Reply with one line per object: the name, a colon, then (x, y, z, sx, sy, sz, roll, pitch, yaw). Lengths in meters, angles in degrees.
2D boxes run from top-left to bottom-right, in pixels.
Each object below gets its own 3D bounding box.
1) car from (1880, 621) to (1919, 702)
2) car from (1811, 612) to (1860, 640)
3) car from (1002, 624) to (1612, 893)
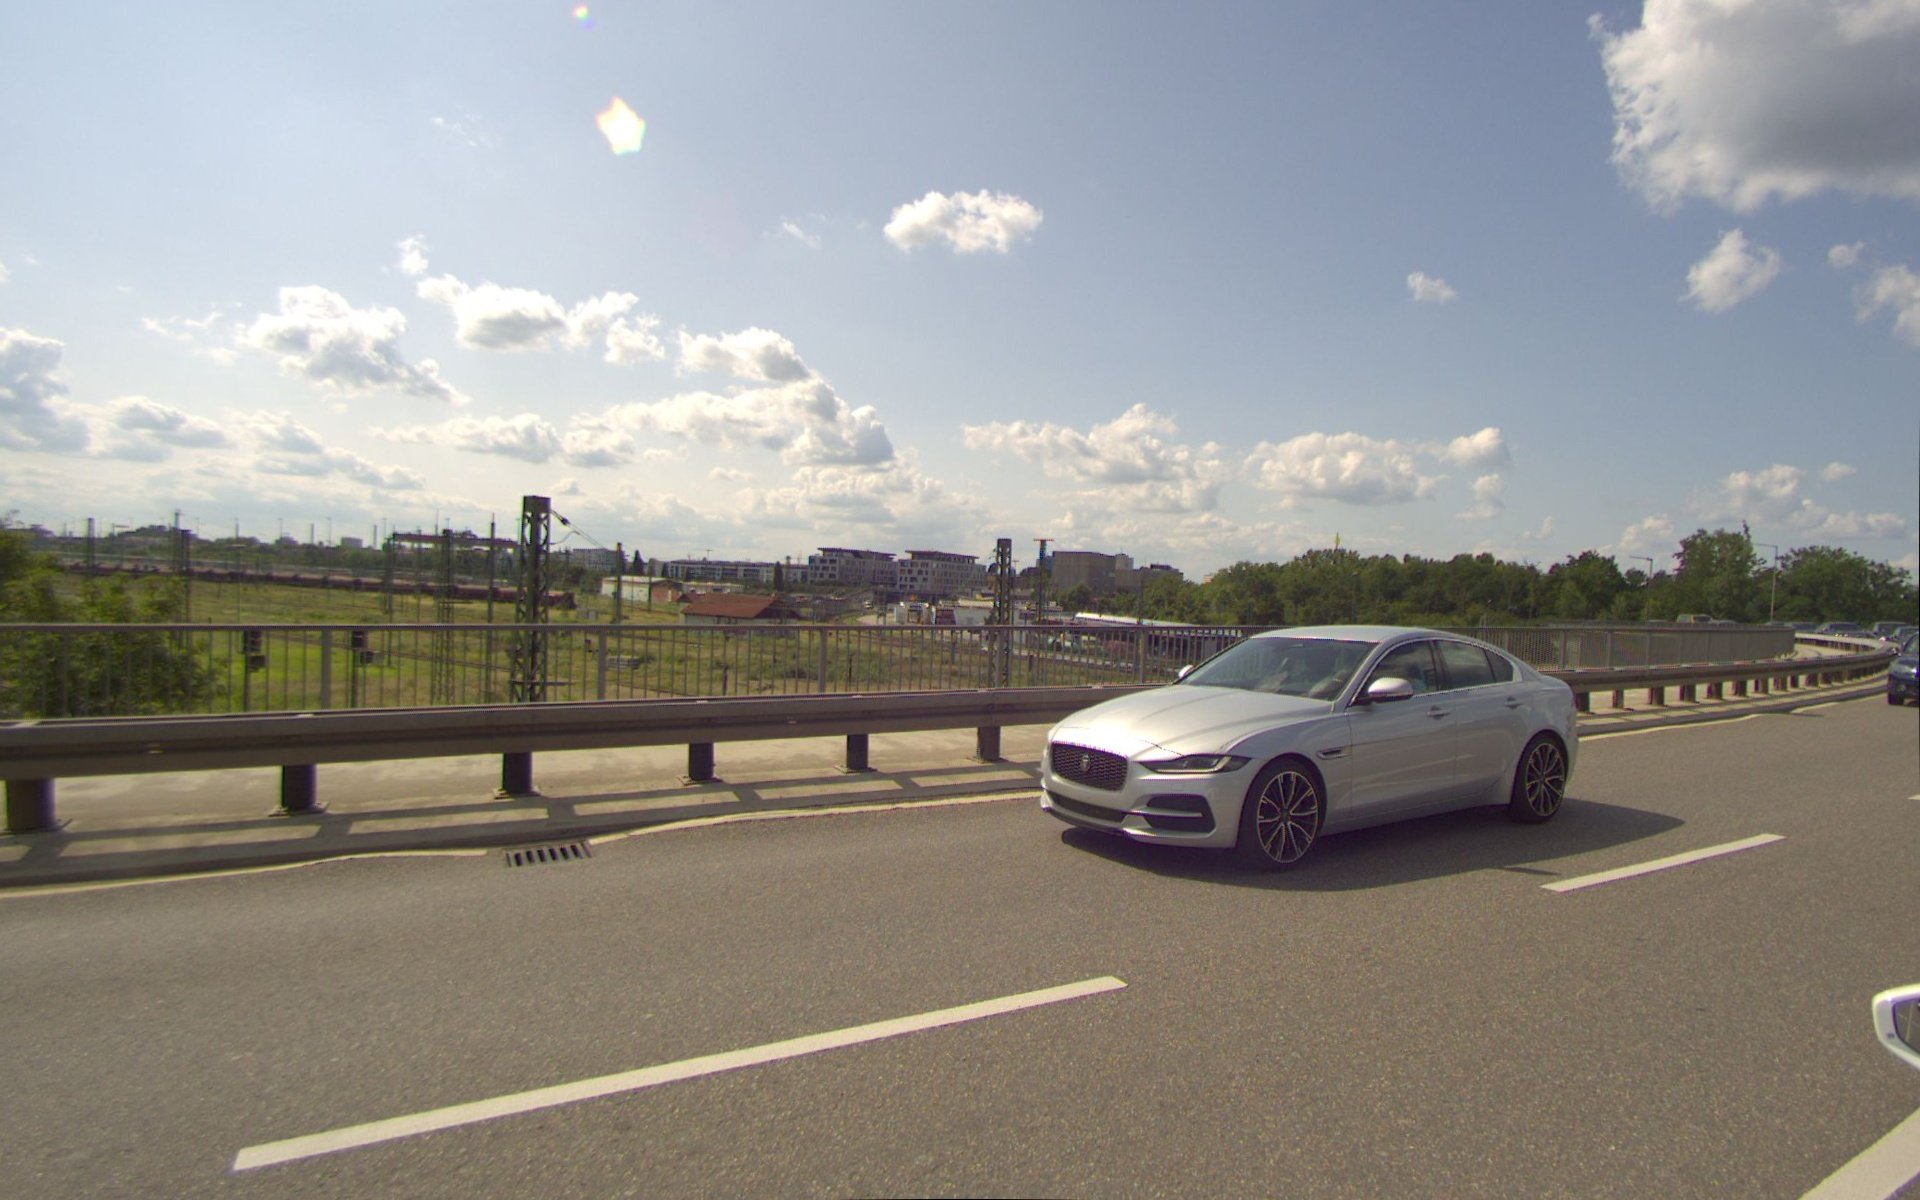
car: (19.478, 1.159, 19.558, 4.288, 1.473, 1.646, 1, -1, -38)
car: (53.436, 1.561, 61.397, 1.660, 1.618, 4.271, -1, -1, 33)
car: (2.673, 0.901, 7.338, 4.529, 1.393, 1.784, 1, 0, -32)
